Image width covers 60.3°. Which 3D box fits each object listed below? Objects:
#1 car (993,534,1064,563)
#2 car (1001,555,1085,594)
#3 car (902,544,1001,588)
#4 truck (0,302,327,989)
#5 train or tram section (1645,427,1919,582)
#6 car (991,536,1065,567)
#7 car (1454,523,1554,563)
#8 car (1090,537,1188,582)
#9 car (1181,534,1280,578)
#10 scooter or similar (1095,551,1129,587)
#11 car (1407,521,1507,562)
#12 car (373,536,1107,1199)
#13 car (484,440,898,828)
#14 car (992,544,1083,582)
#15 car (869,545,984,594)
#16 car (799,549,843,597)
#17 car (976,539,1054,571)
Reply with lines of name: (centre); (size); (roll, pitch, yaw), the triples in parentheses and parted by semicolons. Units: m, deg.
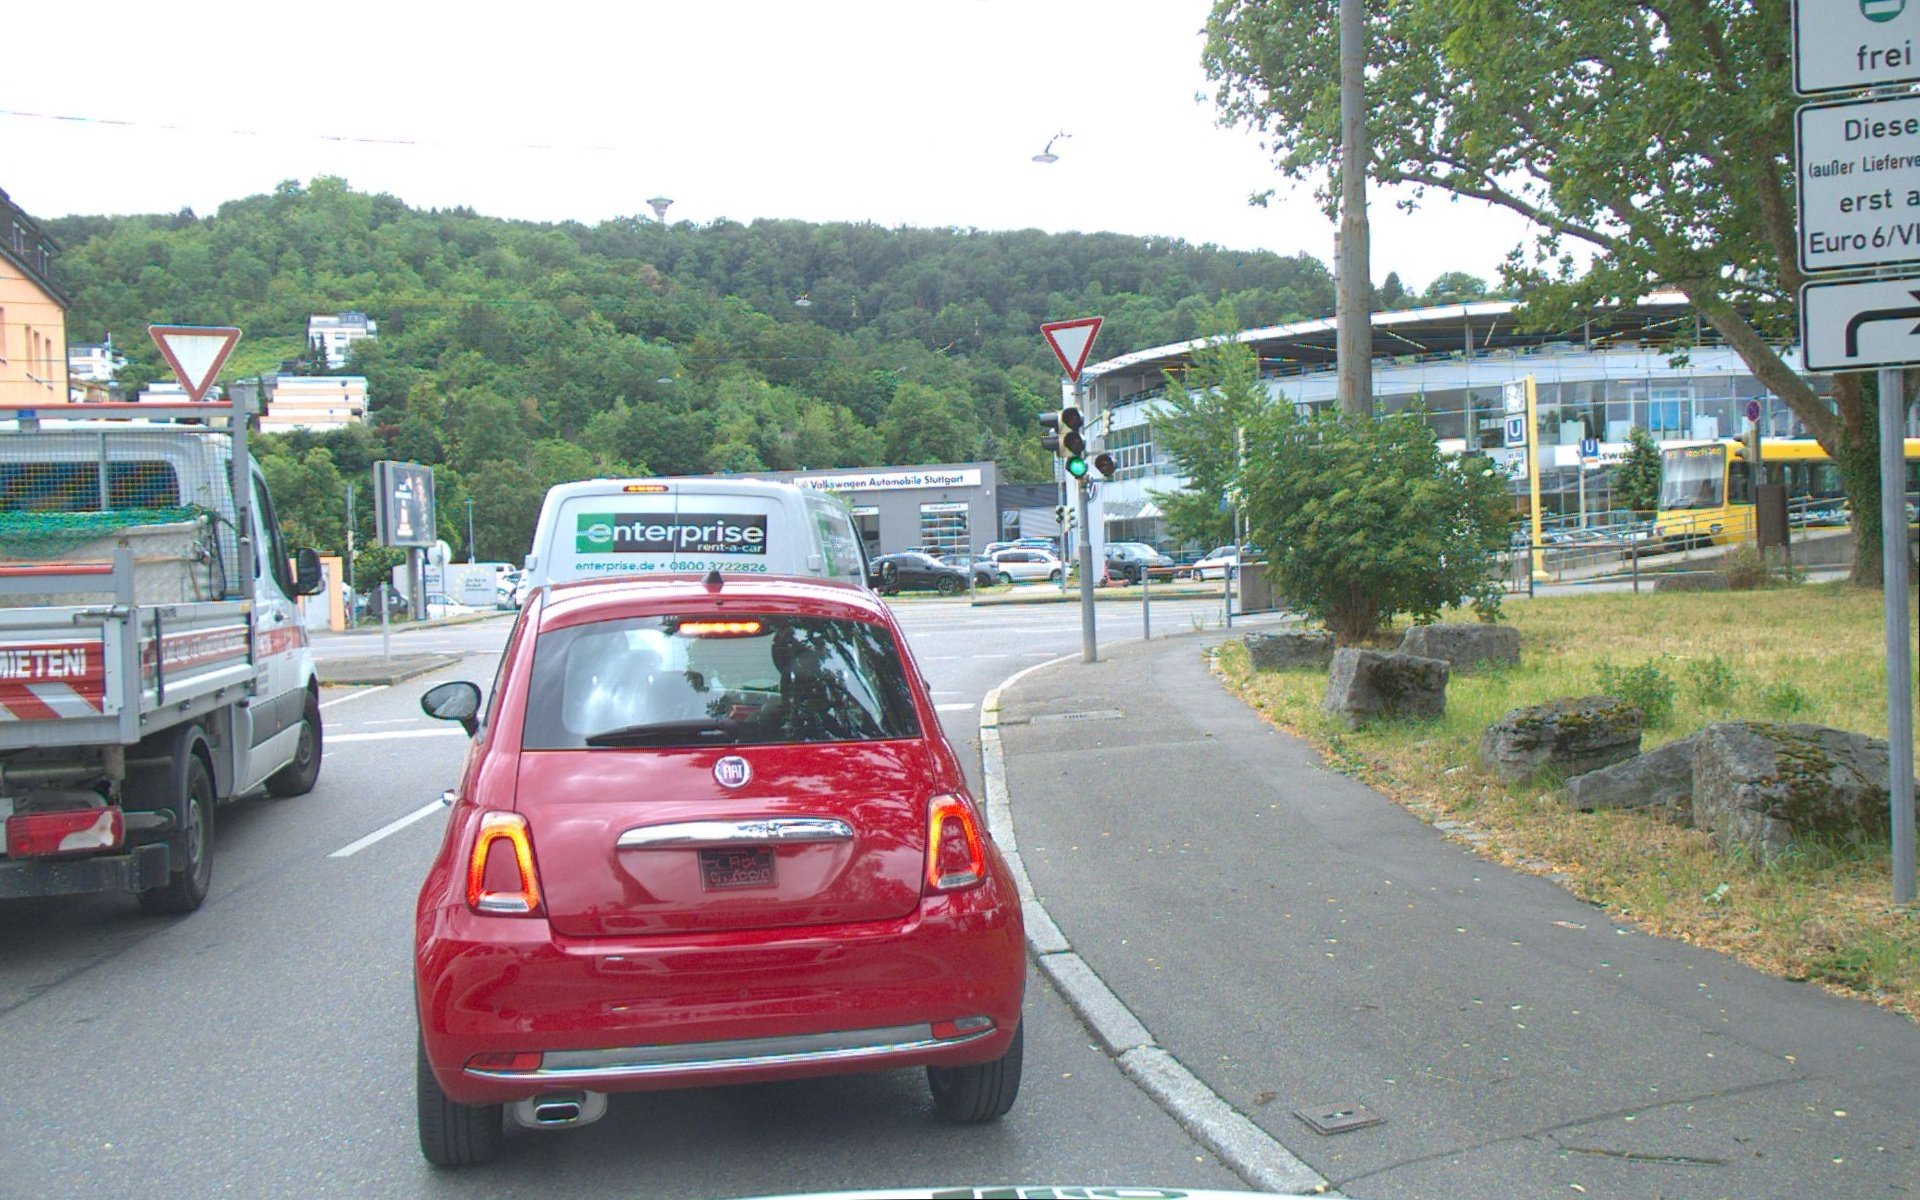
car: (4.339, -3.288, 105.939); (4.405, 1.759, 1.999); (1, 0, -2)
car: (4.514, -1.385, 90.519); (4.404, 2.032, 1.999); (1, 0, -1)
car: (-0.395, -1.412, 70.099); (3.914, 1.736, 1.995); (1, 0, -10)
truck: (-4.812, 0.105, 8.464); (2.276, 2.463, 5.632); (-2, 2, -15)
train or tram section: (25.395, -2.867, 48.166); (11.720, 4.035, 2.729); (-4, 1, -24)
car: (4.125, -2.940, 100.761); (4.405, 1.759, 1.999); (1, 0, -2)
car: (23.883, -2.496, 72.702); (1.899, 1.581, 3.964); (-4, 2, -28)
car: (7.039, -1.590, 65.331); (1.971, 1.668, 3.964); (-2, 1, -28)
car: (10.969, -1.748, 67.296); (1.970, 1.668, 3.964); (1, 0, -28)
scooter or similar: (5.713, -1.160, 62.329); (1.177, 1.310, 0.575); (1, -1, -6)
car: (21.456, -2.520, 71.585); (1.899, 1.581, 3.964); (-4, 2, -28)
car: (-0.886, 0.602, 5.788); (1.668, 1.551, 3.988); (1, 1, -12)
car: (-1.557, 0.086, 11.395); (1.957, 2.075, 4.833); (1, 2, 1)
car: (3.835, -1.825, 81.394); (4.402, 1.759, 2.001); (1, 0, 3)
car: (-1.233, -1.145, 61.388); (3.902, 1.668, 2.003); (1, 4, 13)
car: (-6.608, -1.241, 79.072); (1.954, 2.049, 5.013); (-3, -1, -4)
car: (3.164, -2.602, 96.403); (4.405, 1.759, 1.999); (1, 0, -2)
